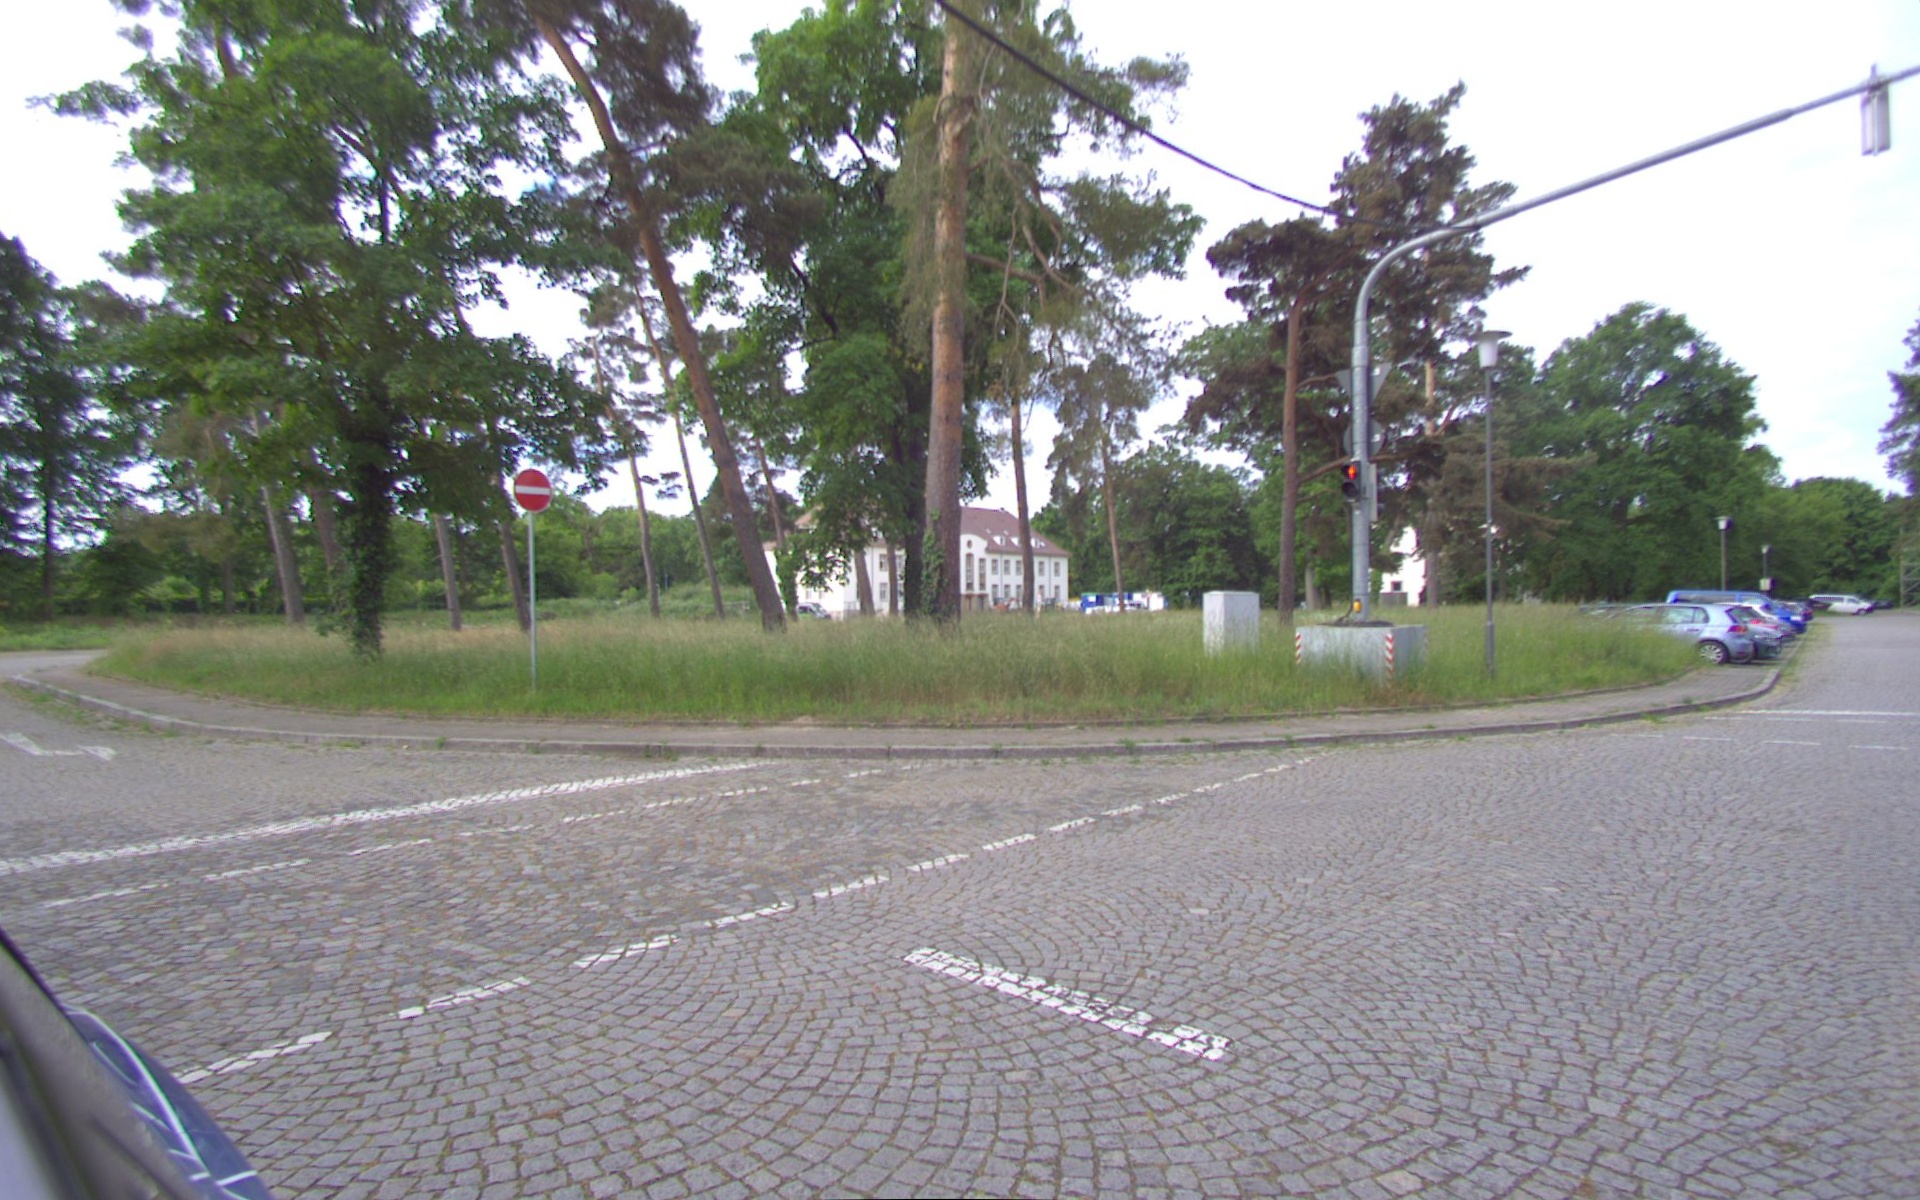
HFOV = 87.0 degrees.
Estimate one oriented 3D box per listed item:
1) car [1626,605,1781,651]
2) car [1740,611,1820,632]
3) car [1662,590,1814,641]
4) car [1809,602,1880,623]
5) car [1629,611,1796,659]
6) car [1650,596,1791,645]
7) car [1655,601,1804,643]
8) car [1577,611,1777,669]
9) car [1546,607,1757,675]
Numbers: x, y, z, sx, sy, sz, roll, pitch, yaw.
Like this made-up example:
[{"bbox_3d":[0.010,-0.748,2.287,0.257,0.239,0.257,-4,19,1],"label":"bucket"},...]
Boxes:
[{"bbox_3d":[24.651,0.904,33.650,3.999,1.449,1.667,-1,-1,42],"label":"car"},{"bbox_3d":[54.138,1.407,66.829,3.999,1.364,1.667,-1,-1,42],"label":"car"},{"bbox_3d":[31.965,0.672,41.683,4.792,1.996,1.970,-2,-2,42],"label":"car"},{"bbox_3d":[87.370,1.205,100.051,5.160,2.029,1.973,-1,-1,41],"label":"car"},{"bbox_3d":[23.248,1.056,31.340,3.999,1.364,1.667,-1,-1,42],"label":"car"},{"bbox_3d":[28.423,0.795,37.890,4.000,1.727,1.667,-3,-2,43],"label":"car"},{"bbox_3d":[26.807,0.764,35.337,3.999,1.364,1.667,-1,-1,42],"label":"car"},{"bbox_3d":[18.262,0.976,25.870,3.999,1.364,1.667,-1,-1,42],"label":"car"},{"bbox_3d":[16.417,0.932,24.130,3.997,1.483,1.668,-1,-1,40],"label":"car"}]
